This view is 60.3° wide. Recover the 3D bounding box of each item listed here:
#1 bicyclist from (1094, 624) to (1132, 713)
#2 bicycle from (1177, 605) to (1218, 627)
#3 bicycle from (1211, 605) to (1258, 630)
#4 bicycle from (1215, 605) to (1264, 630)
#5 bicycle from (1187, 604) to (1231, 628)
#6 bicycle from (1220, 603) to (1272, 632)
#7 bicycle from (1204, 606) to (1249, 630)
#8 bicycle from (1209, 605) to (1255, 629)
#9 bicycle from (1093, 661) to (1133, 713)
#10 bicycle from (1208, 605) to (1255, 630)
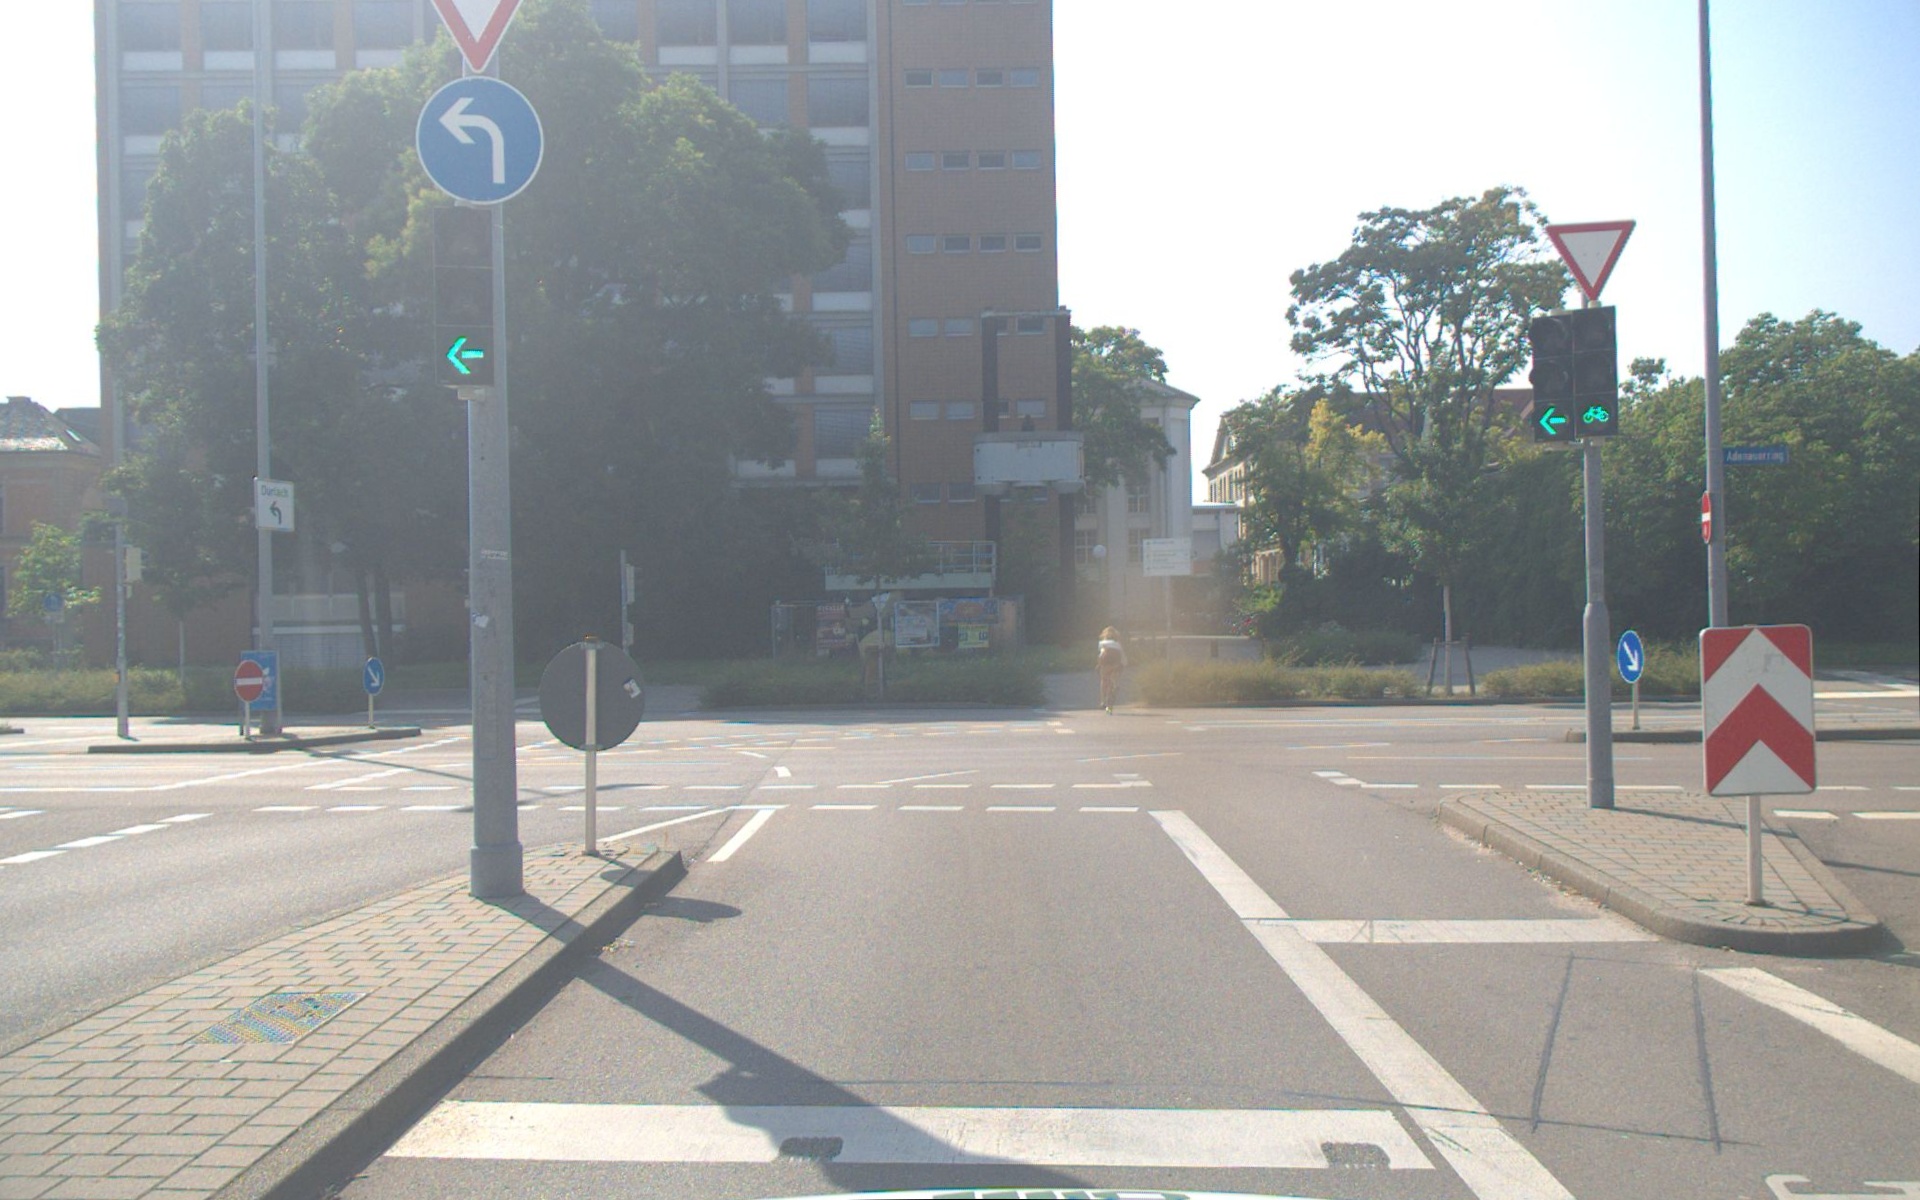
[{"bbox_3d":[2.884,1.280,31.128,0.636,1.629,0.920,-1,-1,8],"label":"bicyclist"},{"bbox_3d":[14.204,0.940,98.887,2.375,1.303,0.720,0,-1,4],"label":"bicycle"},{"bbox_3d":[14.312,0.924,86.370,2.375,1.256,0.720,0,-1,4],"label":"bicycle"},{"bbox_3d":[14.048,0.891,83.166,2.375,1.245,0.720,0,-1,4],"label":"bicycle"},{"bbox_3d":[13.710,0.873,91.138,2.375,1.304,0.720,0,-1,4],"label":"bicycle"},{"bbox_3d":[13.749,0.839,79.497,2.375,1.341,0.720,0,-1,4],"label":"bicycle"},{"bbox_3d":[14.490,0.977,89.848,2.375,1.304,0.720,0,-1,4],"label":"bicycle"},{"bbox_3d":[14.520,0.902,88.265,2.375,1.250,0.720,0,-1,4],"label":"bicycle"},{"bbox_3d":[2.879,1.618,31.013,0.659,0.895,1.402,-1,0,8],"label":"bicycle"},{"bbox_3d":[14.317,0.914,87.225,2.375,1.261,0.720,0,-1,4],"label":"bicycle"}]
